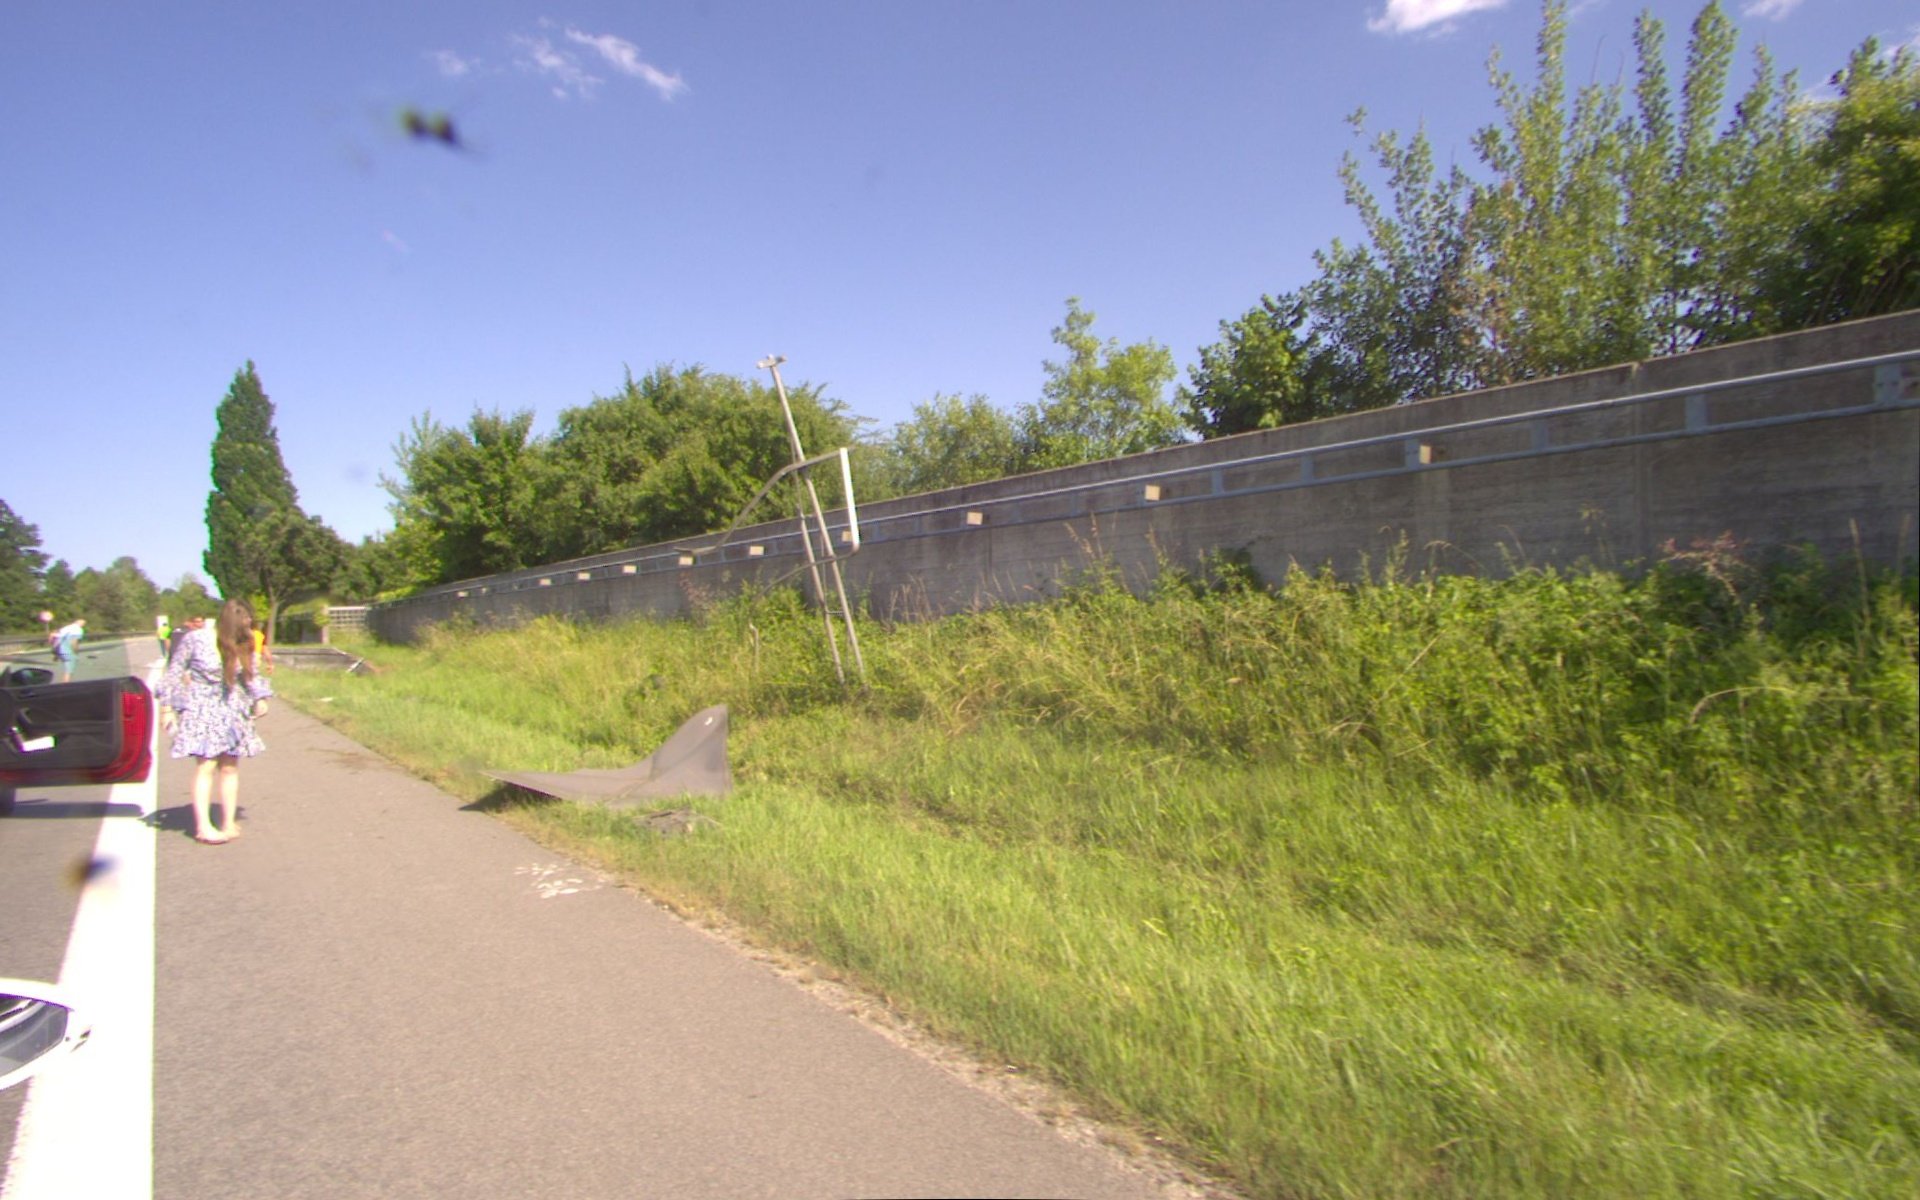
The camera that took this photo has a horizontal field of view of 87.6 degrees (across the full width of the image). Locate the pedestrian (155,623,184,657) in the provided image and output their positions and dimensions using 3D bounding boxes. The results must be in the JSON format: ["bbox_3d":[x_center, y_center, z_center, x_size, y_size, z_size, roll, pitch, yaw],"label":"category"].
[{"bbox_3d":[-40.189,2.013,50.941,1.045,1.711,1.011,1,-1,-33],"label":"pedestrian"}]

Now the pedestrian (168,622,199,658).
[{"bbox_3d":[-37.964,1.940,48.974,1.102,1.711,0.968,1,-1,-31],"label":"pedestrian"}]

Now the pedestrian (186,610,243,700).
[{"bbox_3d":[-14.954,1.087,20.099,0.887,1.747,0.749,1,-1,-37],"label":"pedestrian"}]

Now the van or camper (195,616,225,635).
[{"bbox_3d":[-96.348,3.260,128.668,1.967,2.345,4.459,0,-2,-22],"label":"van or camper"}]

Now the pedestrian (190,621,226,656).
[{"bbox_3d":[-36.635,1.880,48.774,0.981,1.711,1.010,0,-1,13],"label":"pedestrian"}]

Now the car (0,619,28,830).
[{"bbox_3d":[-7.447,0.876,6.521,1.718,1.506,4.176,1,-2,-39],"label":"car"}]

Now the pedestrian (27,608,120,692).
[{"bbox_3d":[-19.714,1.110,22.304,1.086,1.811,1.092,0,-1,1],"label":"pedestrian"}]

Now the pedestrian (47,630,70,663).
[{"bbox_3d":[-47.563,2.426,52.831,0.784,1.711,0.787,1,-1,-34],"label":"pedestrian"}]

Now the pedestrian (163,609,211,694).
[{"bbox_3d":[-16.643,1.088,21.568,0.805,1.782,0.822,1,-1,-38],"label":"pedestrian"}]

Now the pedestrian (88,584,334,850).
[{"bbox_3d":[-5.232,0.765,7.095,1.108,1.718,0.891,-1,0,-16],"label":"pedestrian"}]

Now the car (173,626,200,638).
[{"bbox_3d":[-101.575,4.219,131.483,1.710,1.506,4.198,0,-1,-23],"label":"car"}]

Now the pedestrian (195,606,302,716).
[{"bbox_3d":[-11.399,0.953,16.053,1.259,1.675,0.956,-1,0,31],"label":"pedestrian"}]
